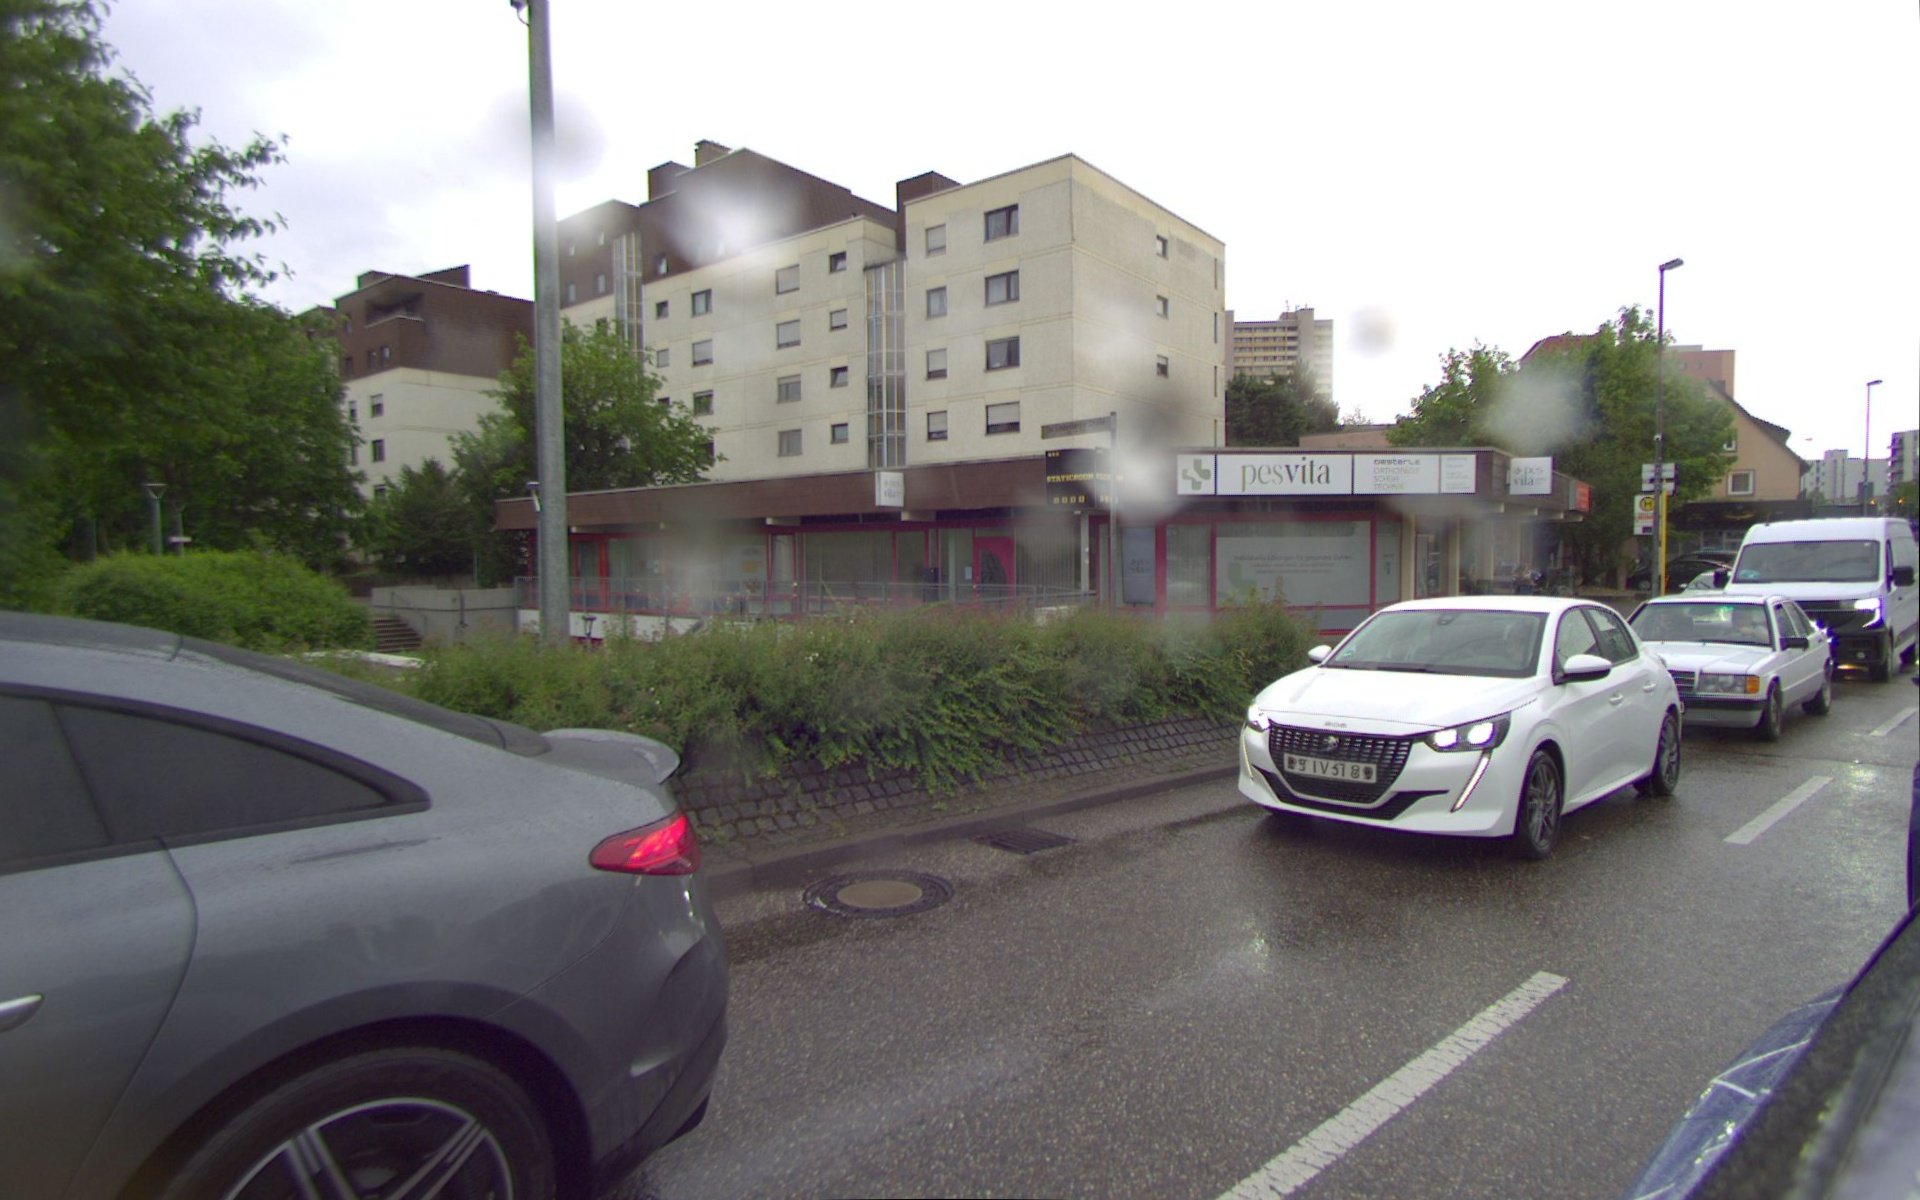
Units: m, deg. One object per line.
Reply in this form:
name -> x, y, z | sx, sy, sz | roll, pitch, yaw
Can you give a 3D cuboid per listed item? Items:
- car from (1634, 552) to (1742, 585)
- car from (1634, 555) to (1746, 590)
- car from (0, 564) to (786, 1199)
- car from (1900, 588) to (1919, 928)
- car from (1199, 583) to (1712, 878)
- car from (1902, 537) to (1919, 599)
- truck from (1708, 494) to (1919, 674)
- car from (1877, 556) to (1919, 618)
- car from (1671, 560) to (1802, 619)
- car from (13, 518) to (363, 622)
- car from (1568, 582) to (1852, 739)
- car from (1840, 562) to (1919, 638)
car -> 33.896, -1.438, 47.188 | 3.981, 1.438, 1.678 | 0, 1, 40
car -> 32.755, -1.215, 45.445 | 3.981, 1.438, 1.971 | 0, 1, 40
car -> -2.675, 0.696, 1.505 | 4.471, 1.462, 1.834 | -1, 0, -41
car -> 5.758, 0.618, 4.609 | 3.640, 1.359, 1.786 | -1, 1, -41
car -> 3.531, 0.614, 6.881 | 3.965, 1.415, 1.716 | -1, 0, -41
car -> 33.448, -1.047, 34.087 | 3.930, 2.038, 1.998 | -1, 4, -40
truck -> 14.500, -0.291, 16.713 | 6.092, 2.470, 2.167 | -1, 2, -41
car -> 25.670, -0.315, 26.643 | 3.933, 1.571, 1.995 | 0, 1, -44
car -> 20.626, -0.317, 26.855 | 3.737, 1.367, 1.998 | -1, 4, -41
car -> -19.637, -0.823, 26.247 | 2.774, 2.300, 6.700 | 3, 3, 29
car -> 8.214, 0.525, 10.982 | 3.670, 1.394, 1.716 | -1, 0, -41
car -> 20.639, -0.018, 22.032 | 3.612, 1.505, 1.641 | -1, -3, -41
